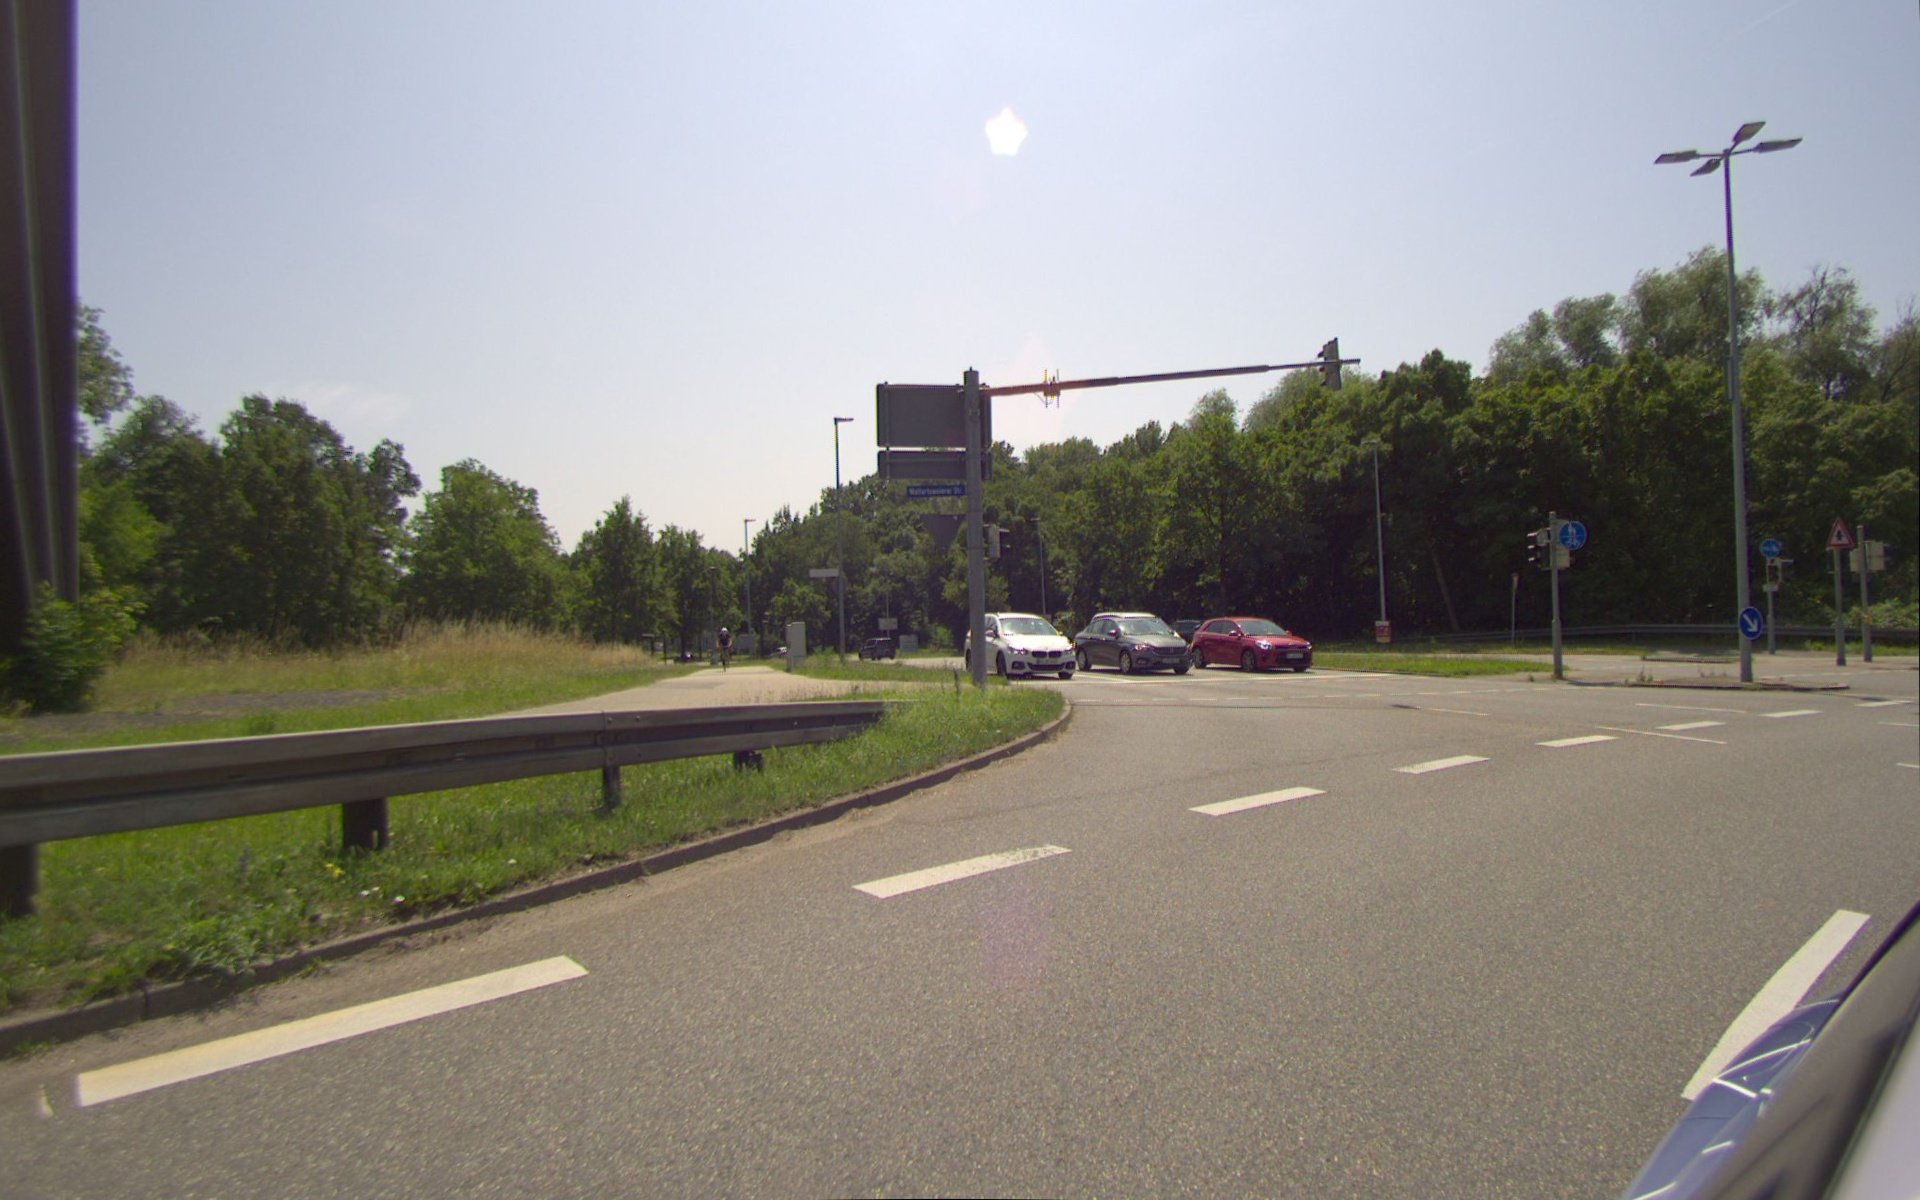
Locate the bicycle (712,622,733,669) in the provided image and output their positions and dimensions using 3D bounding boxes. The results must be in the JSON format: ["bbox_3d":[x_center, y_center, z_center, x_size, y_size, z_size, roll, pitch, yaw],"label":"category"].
[{"bbox_3d":[-8.537,1.620,36.417,0.643,1.594,2.378,-1,-1,-11],"label":"bicycle"}]

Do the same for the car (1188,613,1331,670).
[{"bbox_3d":[7.926,1.044,27.201,1.718,1.372,4.194,-1,-1,-15],"label":"car"}]

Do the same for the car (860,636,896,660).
[{"bbox_3d":[-6.562,3.823,80.778,1.659,1.772,3.698,-1,-1,-26],"label":"car"}]

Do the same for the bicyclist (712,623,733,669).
[{"bbox_3d":[-8.499,1.627,36.248,0.657,1.619,0.692,-1,-1,-10],"label":"bicyclist"}]

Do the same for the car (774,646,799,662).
[{"bbox_3d":[-17.500,5.429,101.927,1.475,1.515,3.698,-1,-1,-26],"label":"car"}]

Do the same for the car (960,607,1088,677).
[{"bbox_3d":[1.465,0.966,24.908,1.829,1.525,4.305,-1,-1,-15],"label":"car"}]

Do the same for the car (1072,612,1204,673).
[{"bbox_3d":[4.615,1.065,26.918,1.829,1.442,4.194,-1,-1,-15],"label":"car"}]

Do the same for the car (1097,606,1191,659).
[{"bbox_3d":[6.193,1.074,34.411,1.549,1.673,3.614,-1,-1,-19],"label":"car"}]

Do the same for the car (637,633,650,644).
[{"bbox_3d":[-47.978,5.797,153.480,1.470,1.631,3.573,-1,-1,-24],"label":"car"}]

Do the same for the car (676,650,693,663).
[{"bbox_3d":[-34.647,7.102,127.144,1.805,1.394,4.007,-1,-1,-19],"label":"car"}]

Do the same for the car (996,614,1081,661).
[{"bbox_3d":[2.554,1.199,34.022,1.549,1.448,4.007,-1,-1,-16],"label":"car"}]
